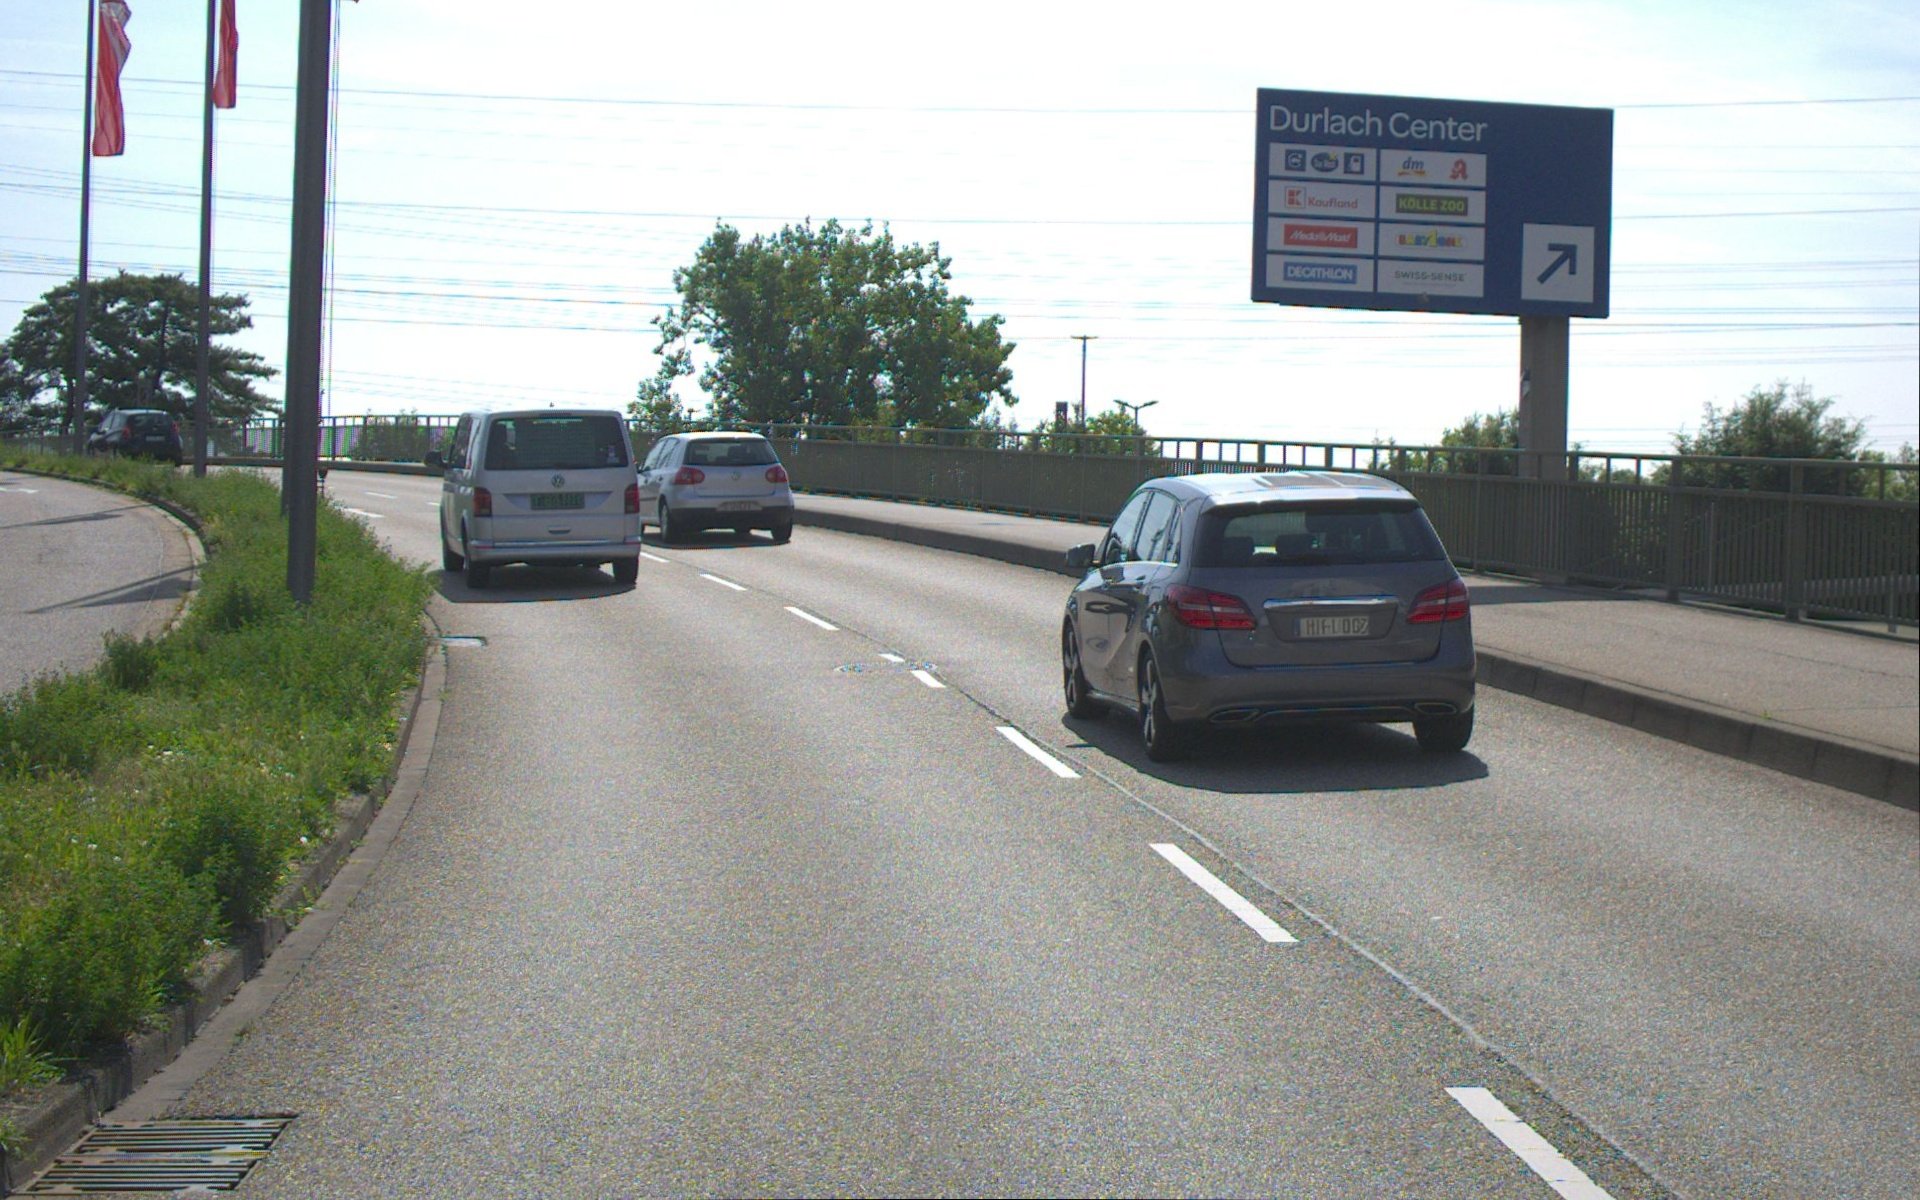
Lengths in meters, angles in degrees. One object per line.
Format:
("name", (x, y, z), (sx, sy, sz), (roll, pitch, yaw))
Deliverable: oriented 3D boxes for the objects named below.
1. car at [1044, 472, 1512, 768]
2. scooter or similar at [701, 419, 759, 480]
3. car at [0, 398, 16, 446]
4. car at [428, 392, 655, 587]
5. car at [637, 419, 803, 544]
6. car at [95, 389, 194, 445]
("car", (1.709, 0.035, 19.932), (1.856, 1.524, 4.145), (1, 2, -7))
("scooter or similar", (-4.431, -2.905, 66.141), (0.511, 1.138, 1.482), (1, 3, -28))
("car", (-28.546, -5.152, 99.715), (1.773, 1.327, 3.742), (-3, 5, -22))
("car", (-4.692, -1.288, 38.119), (2.038, 2.006, 4.002), (-2, 4, -13))
("car", (-3.333, -1.661, 47.088), (1.856, 1.523, 4.146), (-2, 4, -9))
("car", (-21.608, -4.830, 91.044), (1.773, 1.327, 3.741), (-4, 3, -24))
